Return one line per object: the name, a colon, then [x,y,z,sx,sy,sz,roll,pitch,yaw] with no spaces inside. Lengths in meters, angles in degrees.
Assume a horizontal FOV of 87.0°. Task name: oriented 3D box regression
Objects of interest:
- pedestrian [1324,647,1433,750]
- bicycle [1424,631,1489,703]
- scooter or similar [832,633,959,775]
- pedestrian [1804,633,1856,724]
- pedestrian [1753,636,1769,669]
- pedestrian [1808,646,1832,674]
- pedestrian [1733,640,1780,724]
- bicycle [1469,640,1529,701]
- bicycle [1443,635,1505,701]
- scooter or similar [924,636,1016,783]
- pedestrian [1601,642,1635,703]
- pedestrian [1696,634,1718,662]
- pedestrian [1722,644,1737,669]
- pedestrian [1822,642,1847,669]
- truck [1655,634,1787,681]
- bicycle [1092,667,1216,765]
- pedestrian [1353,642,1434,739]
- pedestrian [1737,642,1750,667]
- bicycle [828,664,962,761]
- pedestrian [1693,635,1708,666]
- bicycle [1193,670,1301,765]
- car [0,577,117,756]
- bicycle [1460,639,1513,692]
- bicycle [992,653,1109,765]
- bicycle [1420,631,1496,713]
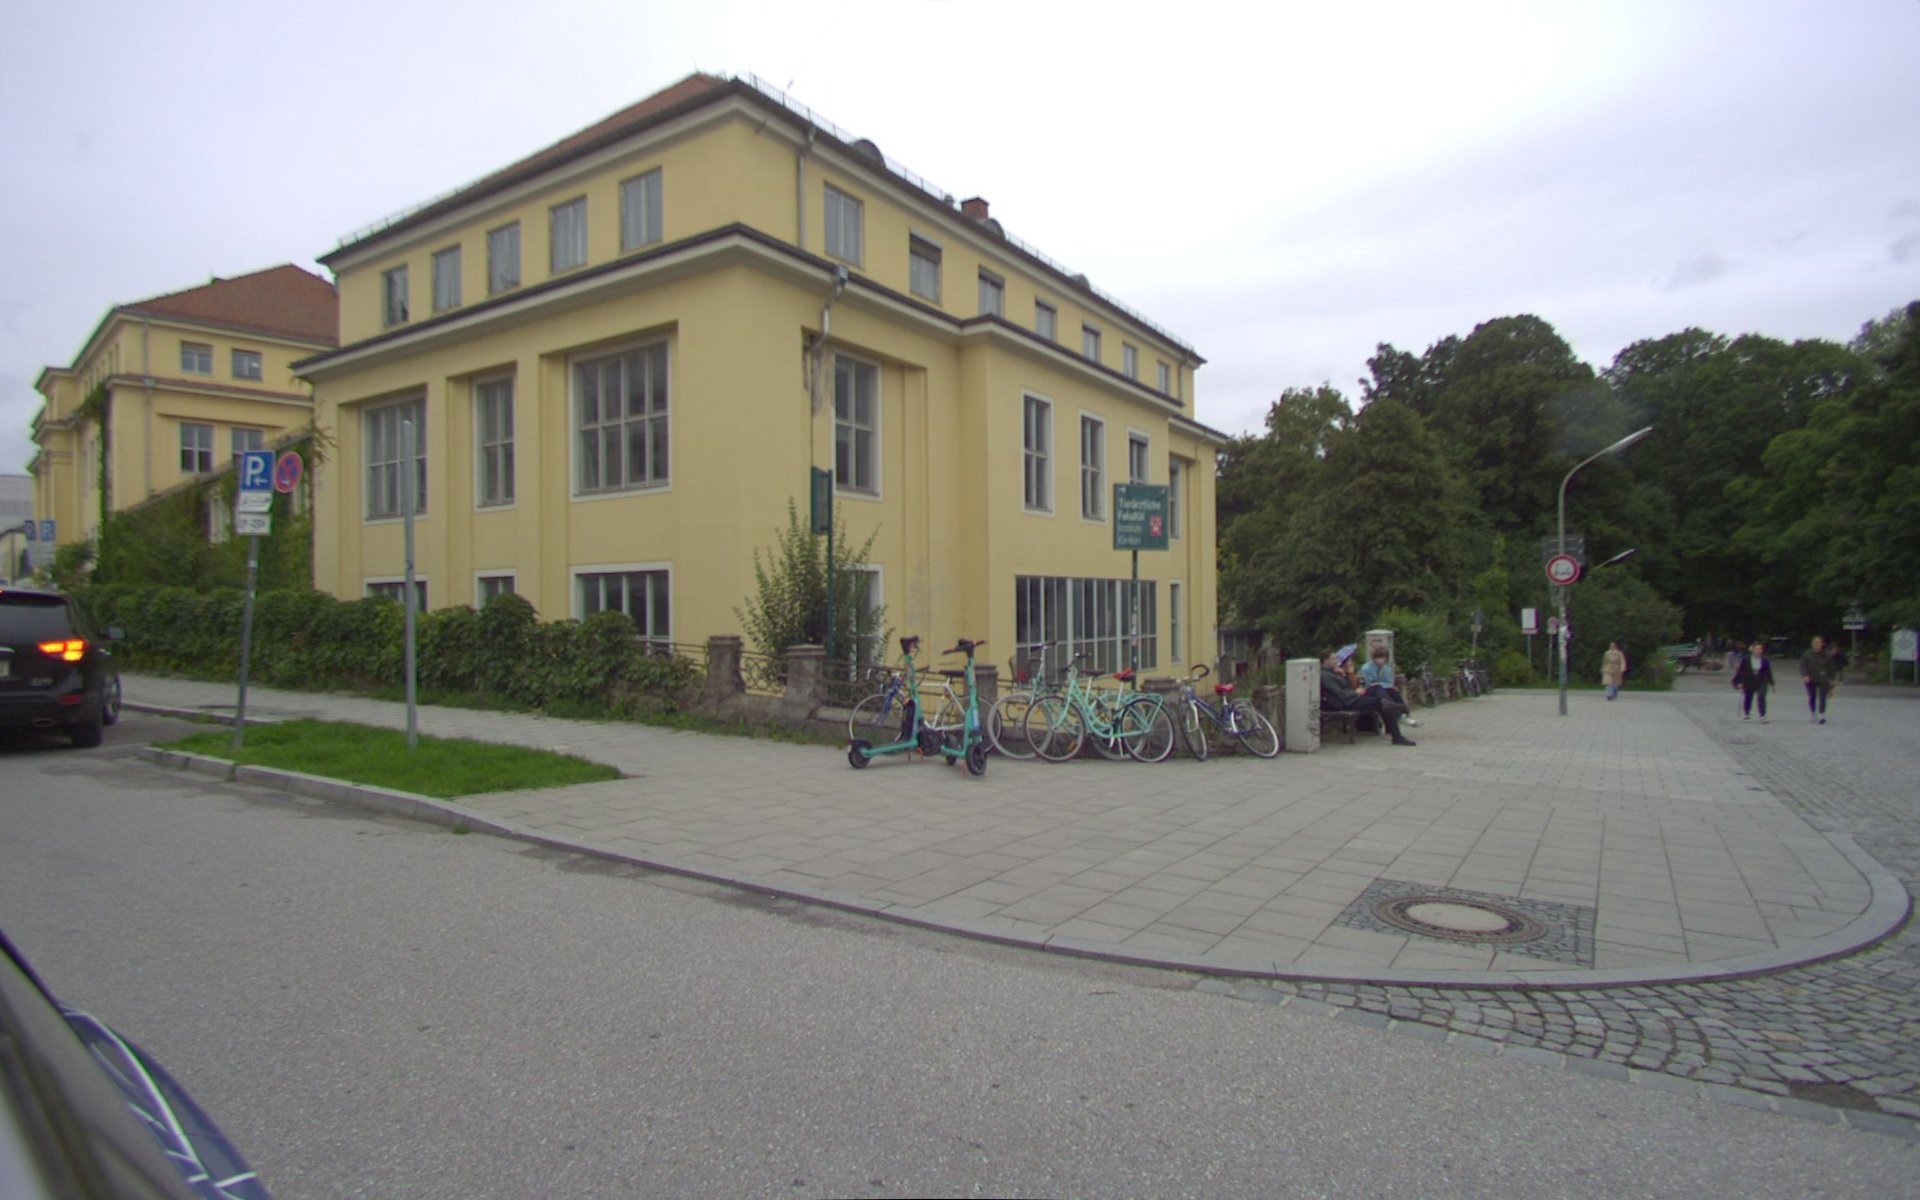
pedestrian: [5.613,1.291,13.564,1.260,1.278,0.842,-1,-1,28]
bicycle: [12.582,1.655,25.755,1.044,1.674,2.986,-1,-1,18]
scooter or similar: [-0.601,0.957,9.713,1.245,1.253,0.395,1,0,-44]
pedestrian: [16.821,1.496,19.584,0.659,1.710,0.742,-1,-2,36]
pedestrian: [50.687,3.325,64.050,0.695,2.029,0.710,-2,-3,34]
pedestrian: [52.112,3.652,61.351,0.721,1.665,0.885,1,-2,-31]
pedestrian: [15.865,1.611,20.161,0.691,1.593,0.742,-2,-2,38]
bicycle: [16.211,2.084,30.529,1.044,1.674,3.133,-1,-1,18]
bicycle: [14.362,1.863,28.390,1.044,1.674,3.133,-1,-1,18]
scooter or similar: [0.075,0.973,9.364,0.432,1.221,1.057,1,0,-24]
pedestrian: [19.374,2.119,29.804,0.747,1.719,1.100,-1,-1,30]
pedestrian: [55.038,3.552,74.593,1.047,2.029,1.137,-1,-2,28]
pedestrian: [47.825,3.501,62.926,0.663,1.506,0.620,-2,-3,43]
pedestrian: [53.809,3.424,62.252,0.874,1.665,0.729,-1,-2,17]
truck: [42.845,3.221,57.088,5.425,2.480,2.396,-1,-1,6]
bicycle: [2.083,1.223,10.853,1.254,0.985,0.415,0,-2,-19]
pedestrian: [6.436,1.314,15.011,1.028,1.345,0.947,-1,-1,28]
pedestrian: [48.206,3.352,62.258,0.538,1.506,0.538,-1,-2,31]
bicycle: [-0.681,1.165,10.649,1.318,0.900,0.432,1,0,16]
pedestrian: [48.561,3.323,66.344,0.695,2.029,0.710,-2,-3,34]
bicycle: [3.275,1.316,11.533,1.254,0.985,0.415,1,-2,-30]
car: [-10.896,0.689,11.423,1.968,1.732,4.624,0,-1,-38]
bicycle: [17.956,2.203,34.605,1.044,1.674,3.134,-1,-1,17]
bicycle: [0.941,1.122,10.526,1.171,1.119,0.302,1,-1,-15]
bicycle: [11.182,1.563,22.850,1.044,1.674,3.133,-1,-1,18]
